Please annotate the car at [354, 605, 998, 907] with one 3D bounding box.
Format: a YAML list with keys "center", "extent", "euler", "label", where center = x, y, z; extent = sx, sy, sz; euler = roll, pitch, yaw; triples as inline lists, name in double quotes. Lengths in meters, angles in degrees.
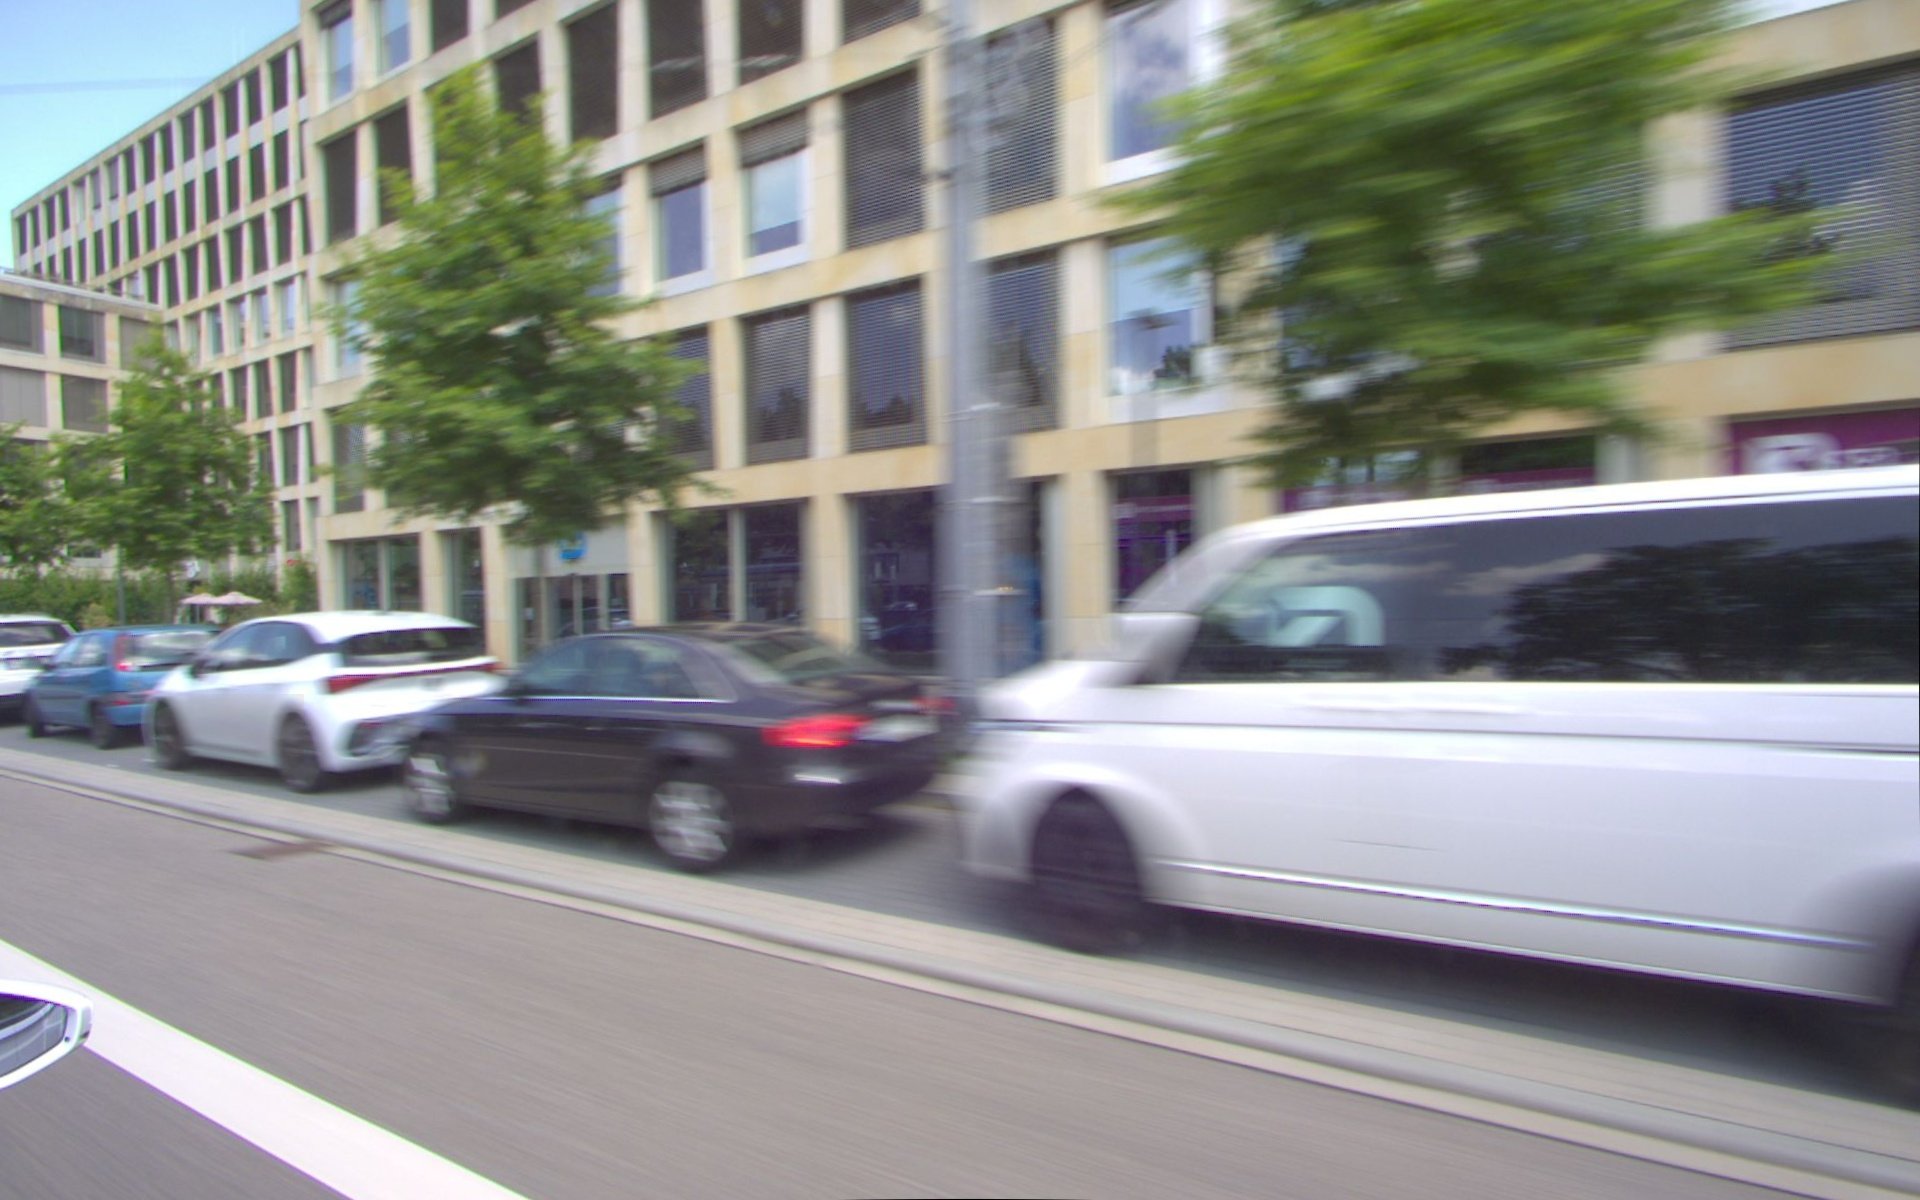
- center: [-2.147, 0.828, 7.130]
  extent: [4.498, 1.507, 1.877]
  euler: [-1, 1, 32]
  label: "car"

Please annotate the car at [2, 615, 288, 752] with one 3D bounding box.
- center: [-10.615, 0.968, 12.989]
  extent: [3.894, 1.477, 1.681]
  euler: [-1, 2, 32]
  label: "car"

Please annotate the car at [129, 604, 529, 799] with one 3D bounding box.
- center: [-6.431, 0.864, 10.104]
  extent: [4.099, 1.550, 1.788]
  euler: [-1, 2, 32]
  label: "car"

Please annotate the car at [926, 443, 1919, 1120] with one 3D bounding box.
- center: [2.368, 0.517, 4.254]
  extent: [4.774, 1.965, 1.877]
  euler: [-1, 2, 32]
  label: "car"

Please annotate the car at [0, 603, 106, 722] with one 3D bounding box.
- center: [-14.893, 0.897, 15.258]
  extent: [4.092, 1.628, 1.681]
  euler: [-1, 2, 32]
  label: "car"
